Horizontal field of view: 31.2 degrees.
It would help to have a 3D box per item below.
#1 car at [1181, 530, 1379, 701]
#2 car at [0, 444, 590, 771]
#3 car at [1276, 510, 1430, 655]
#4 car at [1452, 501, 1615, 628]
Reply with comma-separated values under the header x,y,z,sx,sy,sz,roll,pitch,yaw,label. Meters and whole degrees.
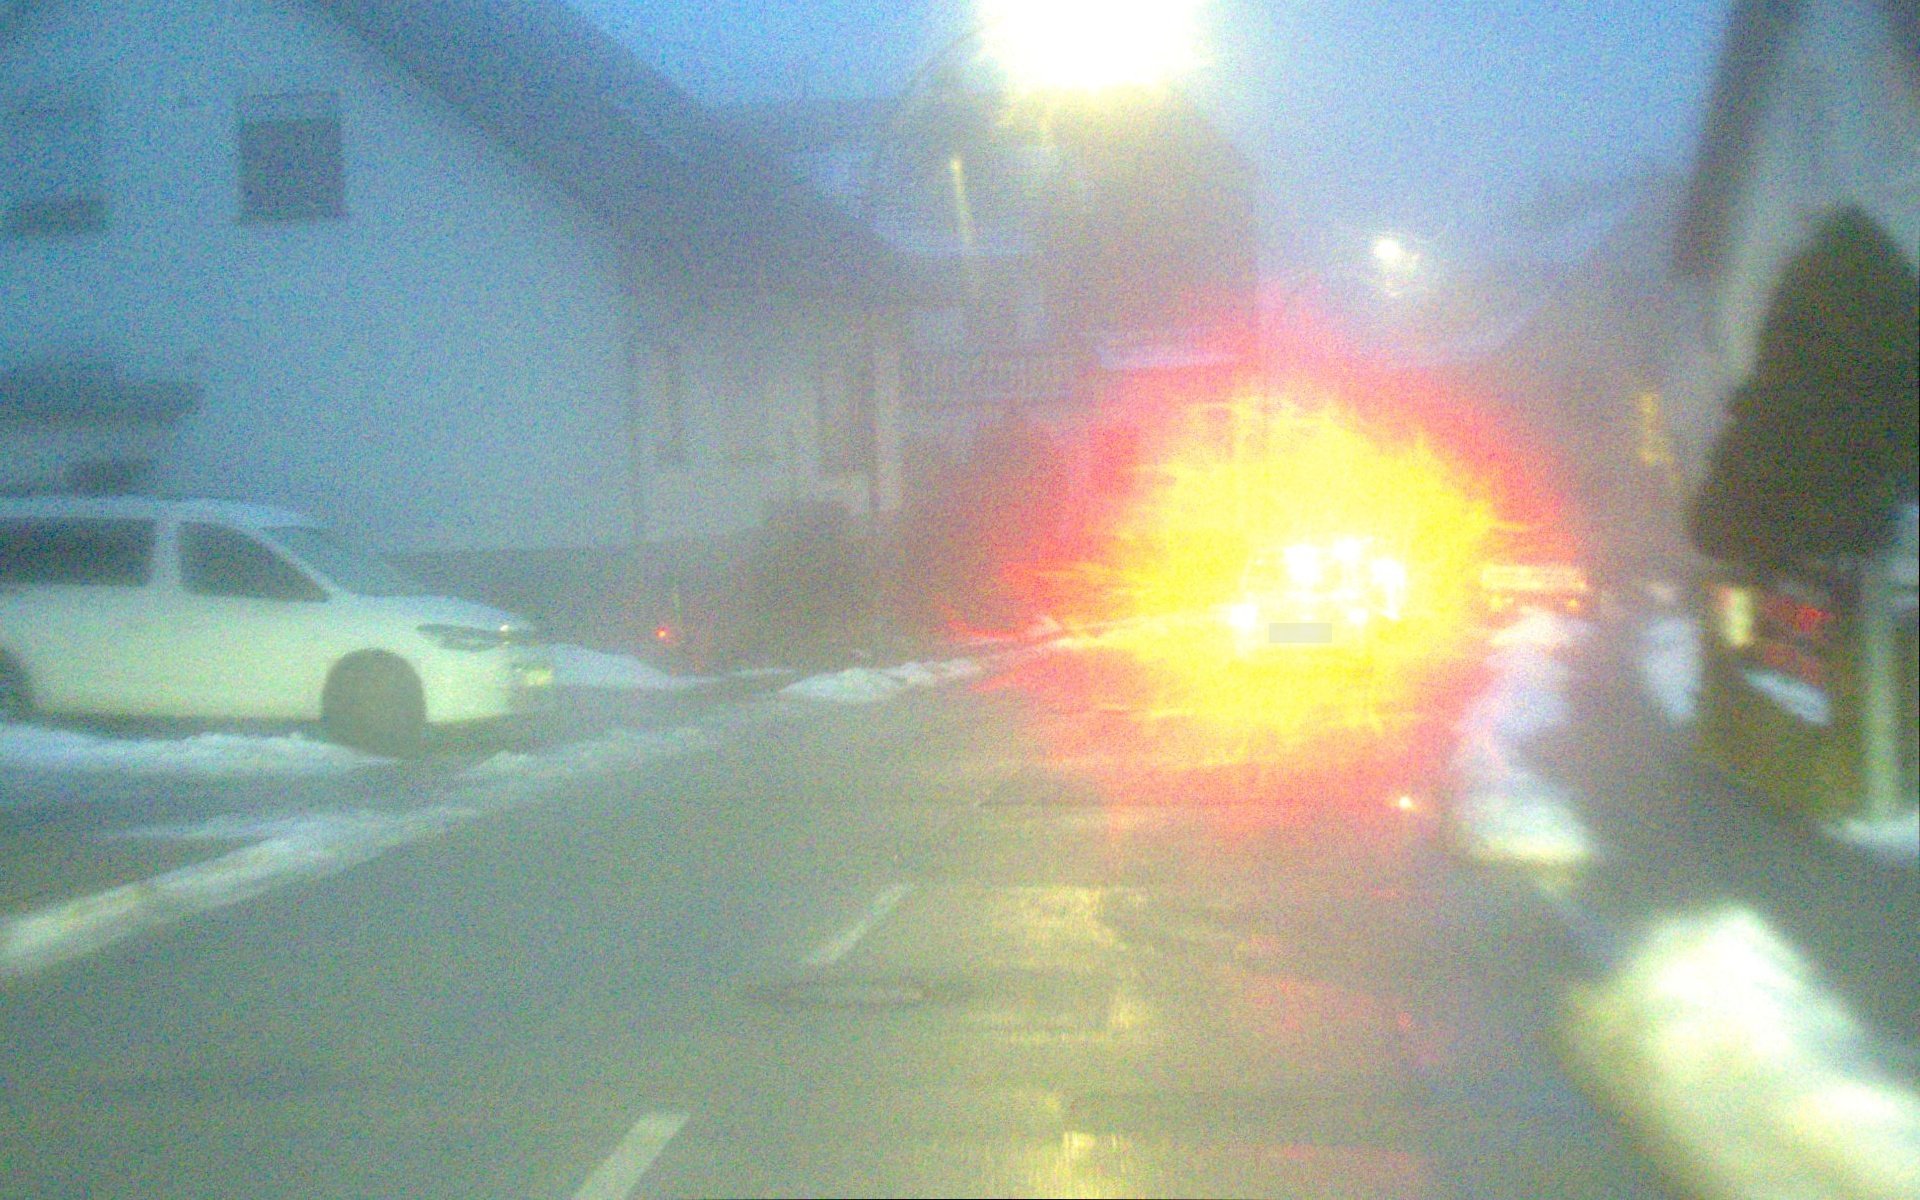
x,y,z,sx,sy,sz,roll,pitch,yaw,label
3.706,0.129,39.256,1.994,1.502,4.000,-3,4,8,car
-5.315,0.055,24.801,4.735,2.006,1.999,-3,4,13,car
6.123,-0.307,53.172,1.994,1.831,3.999,-3,4,11,car
9.587,-0.632,57.157,2.252,1.634,4.847,-3,4,14,car
